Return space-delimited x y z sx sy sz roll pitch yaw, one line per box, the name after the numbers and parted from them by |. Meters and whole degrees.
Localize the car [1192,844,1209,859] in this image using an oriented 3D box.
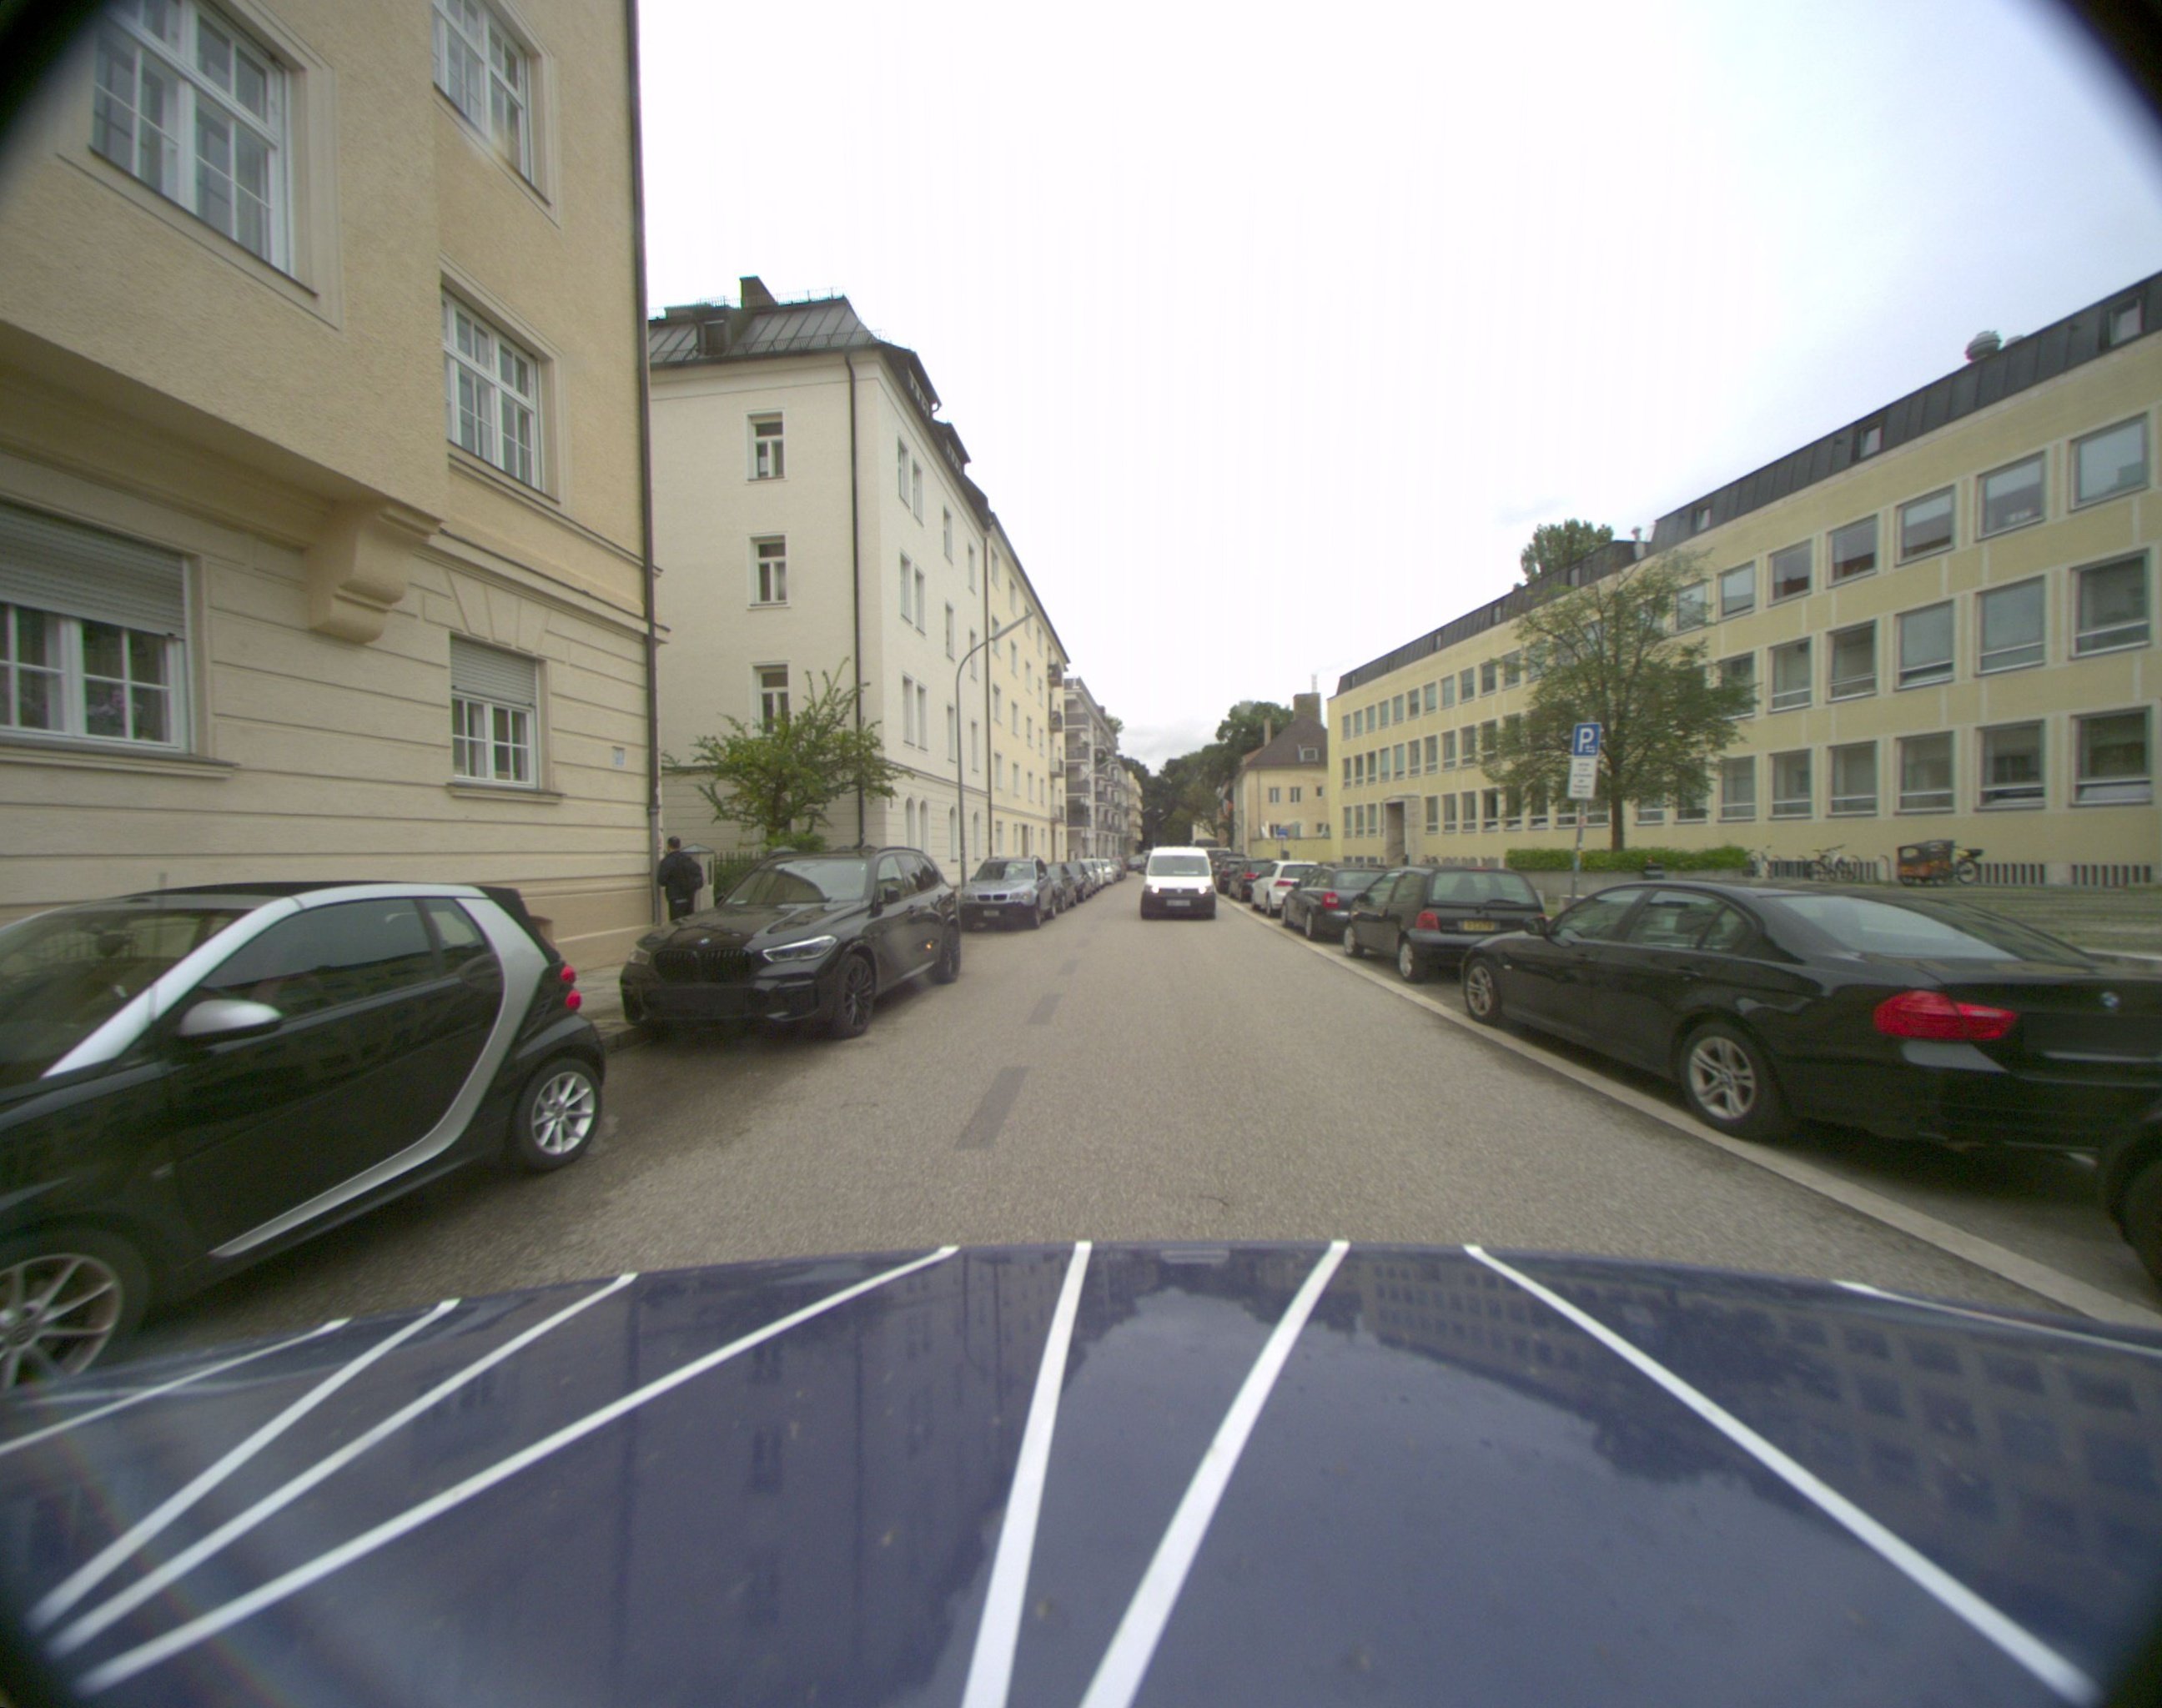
17.906 -0.410 113.946 2.214 2.070 4.961 -3 1 7 | car

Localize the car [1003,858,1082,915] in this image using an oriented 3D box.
-1.102 0.930 23.649 1.707 1.434 4.057 -3 1 7 | car

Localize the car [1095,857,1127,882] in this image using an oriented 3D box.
1.954 0.945 48.670 1.742 1.367 4.023 -3 1 5 | car

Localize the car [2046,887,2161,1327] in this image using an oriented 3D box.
4.407 0.889 1.364 1.671 1.451 2.868 1 1 2 | car

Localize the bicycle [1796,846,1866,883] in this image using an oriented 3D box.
23.456 0.318 23.776 1.837 1.023 0.575 -3 1 -10 | bicycle

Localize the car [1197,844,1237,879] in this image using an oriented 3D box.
8.228 0.417 46.284 1.948 1.965 4.356 0 1 4 | car

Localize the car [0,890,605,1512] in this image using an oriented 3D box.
-3.628 1.043 2.868 1.510 1.548 2.864 -3 1 8 | car

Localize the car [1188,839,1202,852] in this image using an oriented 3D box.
19.486 -1.409 130.002 2.214 2.070 4.961 -3 1 7 | car

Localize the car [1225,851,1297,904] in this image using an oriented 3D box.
6.104 0.733 26.181 1.744 1.536 4.083 -3 1 4 | car

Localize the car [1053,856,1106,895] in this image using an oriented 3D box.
0.005 0.895 33.755 1.840 1.426 4.655 -3 1 5 | car

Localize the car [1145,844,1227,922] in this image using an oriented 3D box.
2.704 0.655 20.102 1.883 1.762 4.926 0 1 6 | car

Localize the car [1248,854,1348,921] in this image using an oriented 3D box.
5.640 0.805 20.221 1.725 1.521 4.000 0 1 4 | car

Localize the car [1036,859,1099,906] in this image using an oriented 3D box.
-0.430 1.015 28.518 1.801 1.406 4.530 -3 1 5 | car

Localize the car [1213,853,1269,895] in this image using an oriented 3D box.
6.448 0.767 30.984 1.744 1.459 3.686 -3 1 5 | car

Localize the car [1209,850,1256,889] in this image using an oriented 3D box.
7.091 0.667 35.962 1.744 1.679 4.123 0 1 5 | car

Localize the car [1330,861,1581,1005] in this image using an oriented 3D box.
4.741 0.888 10.276 1.725 1.473 3.754 0 1 4 | car

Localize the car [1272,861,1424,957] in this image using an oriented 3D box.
4.982 0.938 14.817 1.725 1.473 4.205 0 1 4 | car

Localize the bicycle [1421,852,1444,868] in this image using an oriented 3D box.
20.770 0.370 44.915 1.243 0.897 0.288 -3 1 -8 | bicycle

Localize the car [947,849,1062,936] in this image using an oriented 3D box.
-1.692 0.805 18.345 1.781 1.720 4.391 -3 1 7 | car

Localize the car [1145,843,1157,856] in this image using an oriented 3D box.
10.622 -0.679 114.411 1.638 1.726 3.881 -3 1 7 | car

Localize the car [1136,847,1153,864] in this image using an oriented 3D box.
7.208 0.192 85.960 1.638 1.726 3.881 -3 1 7 | car

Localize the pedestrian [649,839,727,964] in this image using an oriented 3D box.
-5.824 0.680 11.266 0.683 1.750 0.694 -2 2 38 | pedestrian

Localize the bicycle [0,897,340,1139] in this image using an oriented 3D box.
-6.469 0.999 4.823 0.703 1.239 2.645 -1 1 6 | bicycle

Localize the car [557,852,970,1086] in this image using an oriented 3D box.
-2.788 0.906 8.116 1.931 1.719 4.690 -3 -1 7 | car

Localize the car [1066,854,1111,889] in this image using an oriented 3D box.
0.448 0.839 38.733 1.840 1.538 4.269 -3 1 5 | car

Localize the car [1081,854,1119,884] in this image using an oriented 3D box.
1.117 0.835 43.446 1.840 1.450 4.023 -3 1 5 | car

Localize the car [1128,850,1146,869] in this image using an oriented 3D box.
5.695 0.552 77.157 1.638 1.726 3.881 -3 1 7 | car

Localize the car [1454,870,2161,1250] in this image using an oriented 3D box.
4.415 0.894 5.179 1.725 1.356 4.212 1 1 2 | car

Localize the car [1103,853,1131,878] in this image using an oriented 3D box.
2.651 0.800 54.699 1.742 1.507 4.023 -3 1 5 | car

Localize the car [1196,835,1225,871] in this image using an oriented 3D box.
10.041 -0.142 59.181 1.997 2.702 4.961 -1 1 7 | car

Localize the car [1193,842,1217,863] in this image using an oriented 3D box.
13.308 -0.224 81.858 2.214 2.070 4.961 -3 1 7 | car
